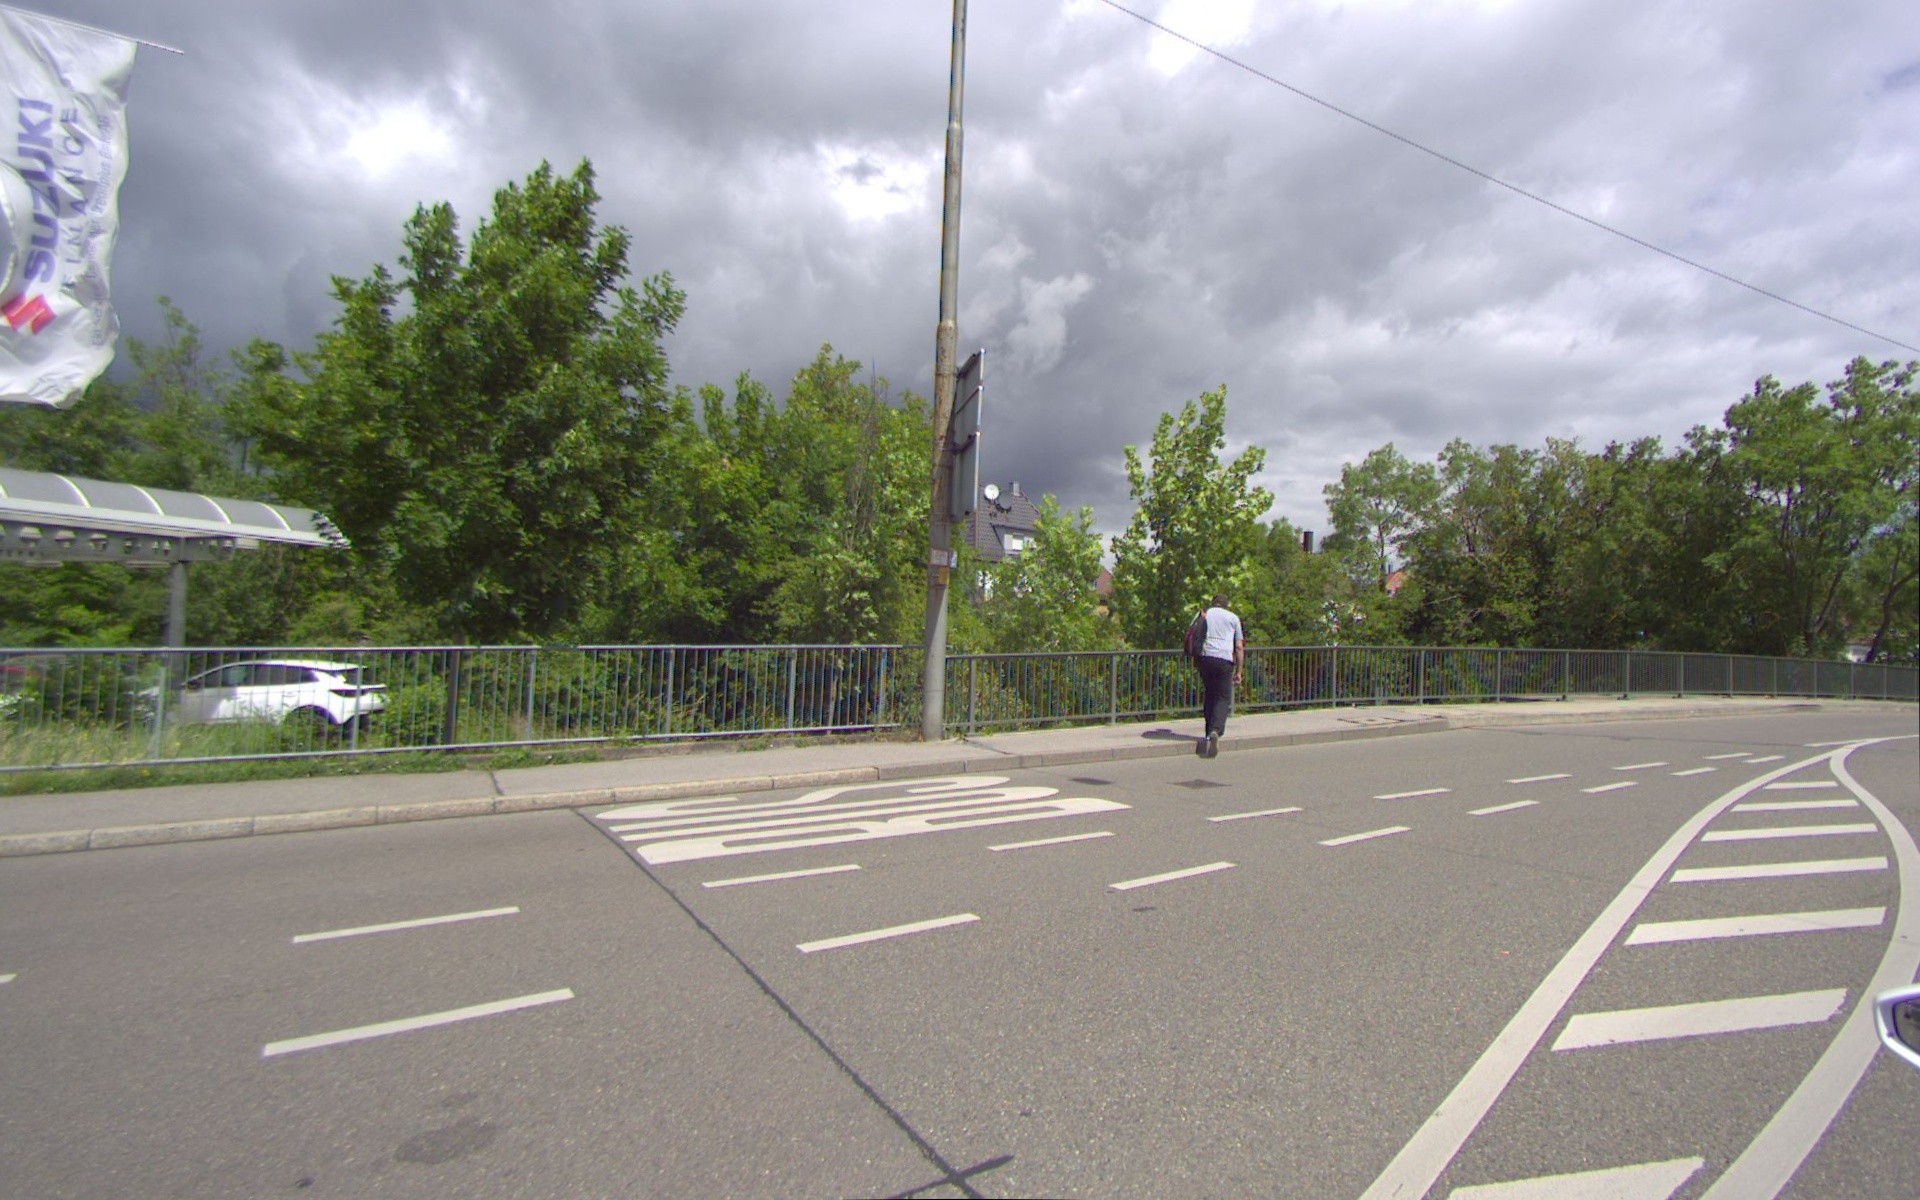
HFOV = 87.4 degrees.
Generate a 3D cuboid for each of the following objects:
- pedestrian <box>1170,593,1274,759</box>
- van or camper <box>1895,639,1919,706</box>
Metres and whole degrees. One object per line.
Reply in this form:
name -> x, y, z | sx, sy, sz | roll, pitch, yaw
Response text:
pedestrian -> 3.097, 0.871, 11.982 | 0.979, 1.861, 1.037 | 1, 0, 3
van or camper -> 39.628, 2.848, 38.008 | 2.167, 2.599, 5.887 | 6, -5, -27
